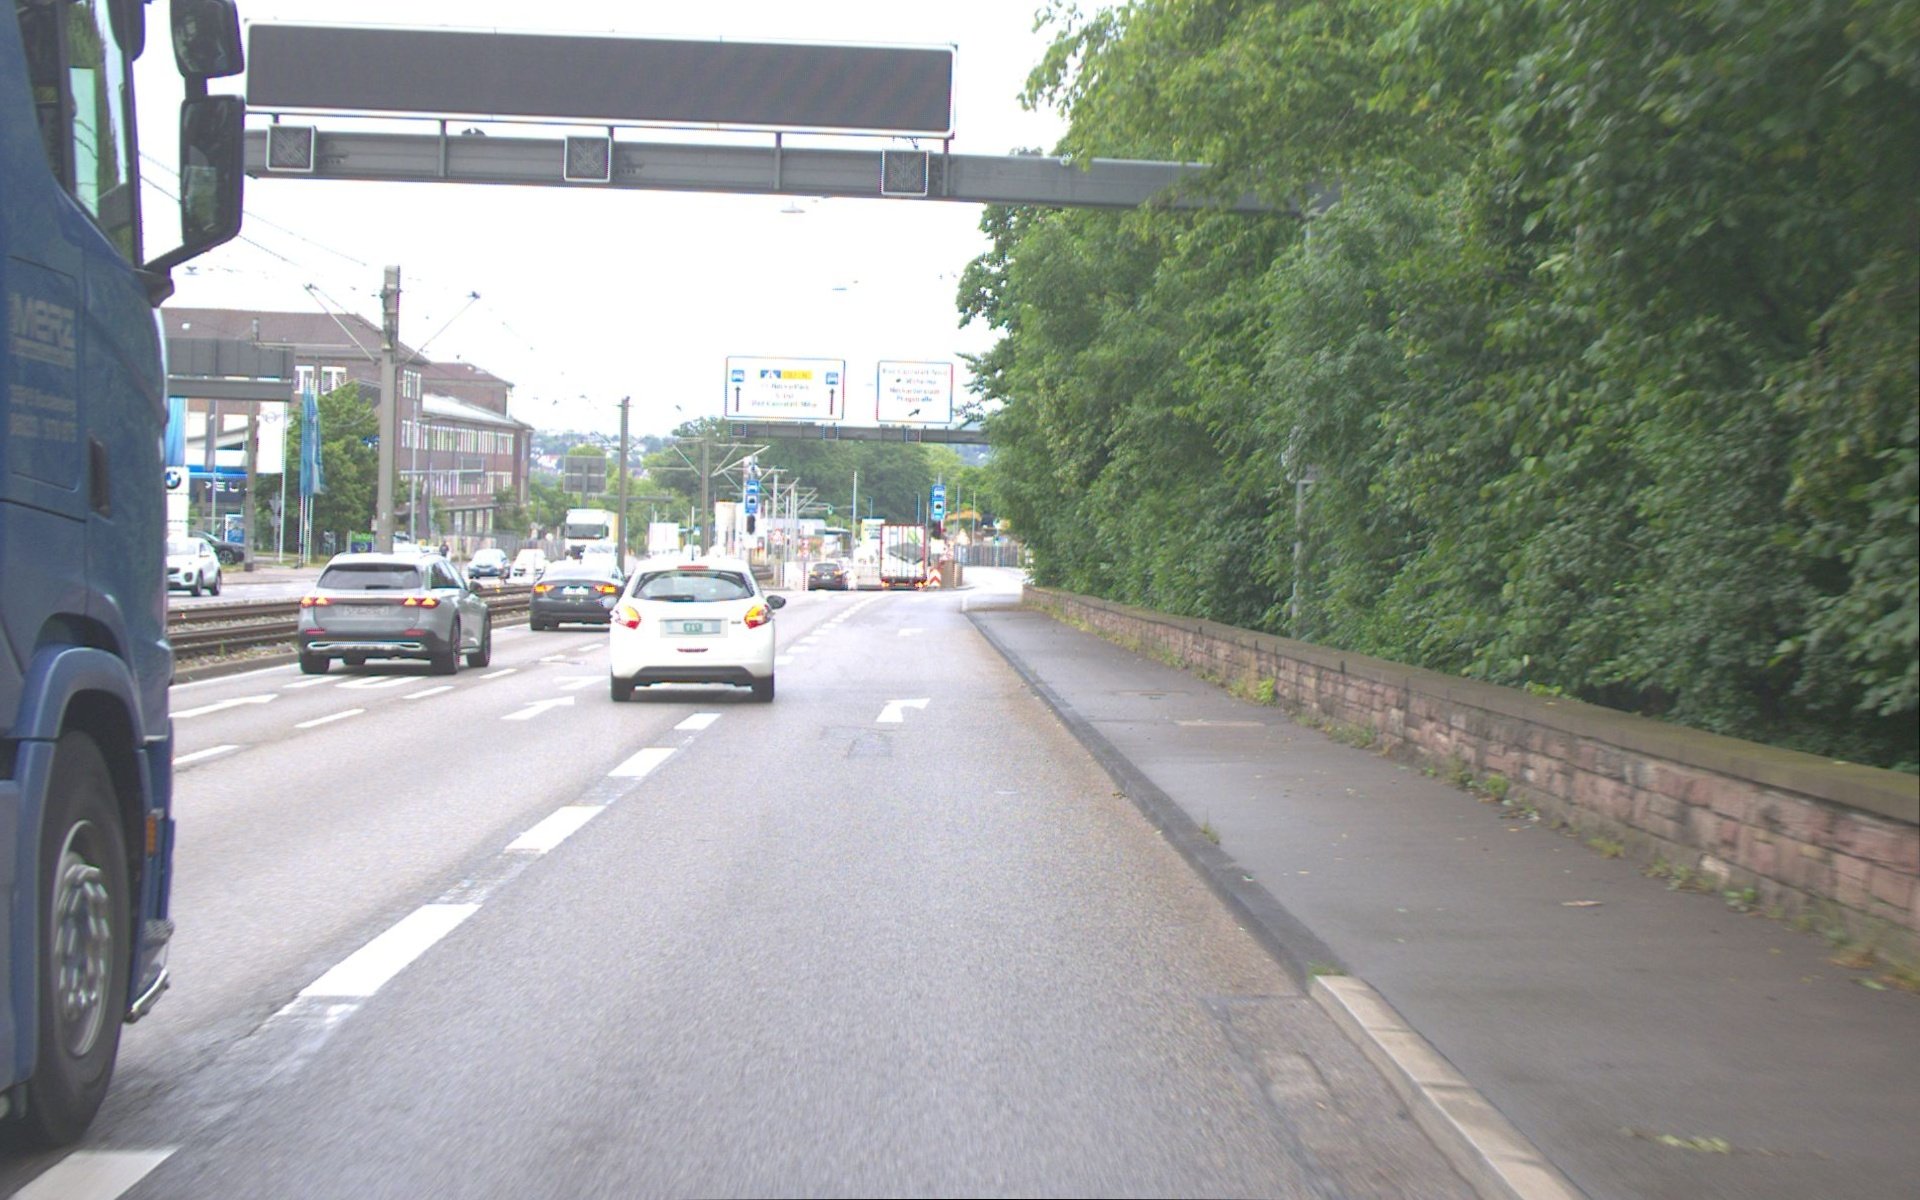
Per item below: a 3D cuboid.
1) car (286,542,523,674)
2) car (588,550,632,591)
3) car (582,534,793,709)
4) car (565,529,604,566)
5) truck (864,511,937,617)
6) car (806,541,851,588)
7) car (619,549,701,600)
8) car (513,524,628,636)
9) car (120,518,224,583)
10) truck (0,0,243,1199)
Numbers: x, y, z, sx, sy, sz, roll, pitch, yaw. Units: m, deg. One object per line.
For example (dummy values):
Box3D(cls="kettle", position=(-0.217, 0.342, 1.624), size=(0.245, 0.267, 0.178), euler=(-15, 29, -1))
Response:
Box3D(cls="car", position=(-6.885, 0.075, 43.000), size=(1.821, 1.560, 4.091), euler=(0, 1, 8))
Box3D(cls="car", position=(-19.377, -1.611, 190.314), size=(1.993, 2.007, 4.000), euler=(3, -2, -1))
Box3D(cls="car", position=(-2.822, 0.178, 36.367), size=(1.955, 1.482, 4.001), euler=(3, 3, -2))
Box3D(cls="car", position=(-23.803, -3.313, 218.253), size=(1.993, 2.007, 4.000), euler=(3, -2, -1))
Box3D(cls="truck", position=(-3.389, -1.990, 200.179), size=(3.465, 5.383, 12.049), euler=(3, -2, 2))
Box3D(cls="car", position=(-6.479, -1.732, 169.670), size=(1.993, 2.007, 3.999), euler=(3, -2, -1))
Box3D(cls="car", position=(-9.446, -0.802, 108.486), size=(1.994, 1.570, 3.999), euler=(1, 0, 4))
Box3D(cls="car", position=(-7.488, -0.416, 66.358), size=(1.721, 1.884, 3.536), euler=(2, 4, 1))
Box3D(cls="car", position=(-22.289, -1.385, 97.356), size=(1.993, 1.656, 4.000), euler=(3, 0, 0))
Box3D(cls="truck", position=(-3.446, -0.699, 6.675), size=(2.762, 4.182, 6.785), euler=(1, 1, -1))
